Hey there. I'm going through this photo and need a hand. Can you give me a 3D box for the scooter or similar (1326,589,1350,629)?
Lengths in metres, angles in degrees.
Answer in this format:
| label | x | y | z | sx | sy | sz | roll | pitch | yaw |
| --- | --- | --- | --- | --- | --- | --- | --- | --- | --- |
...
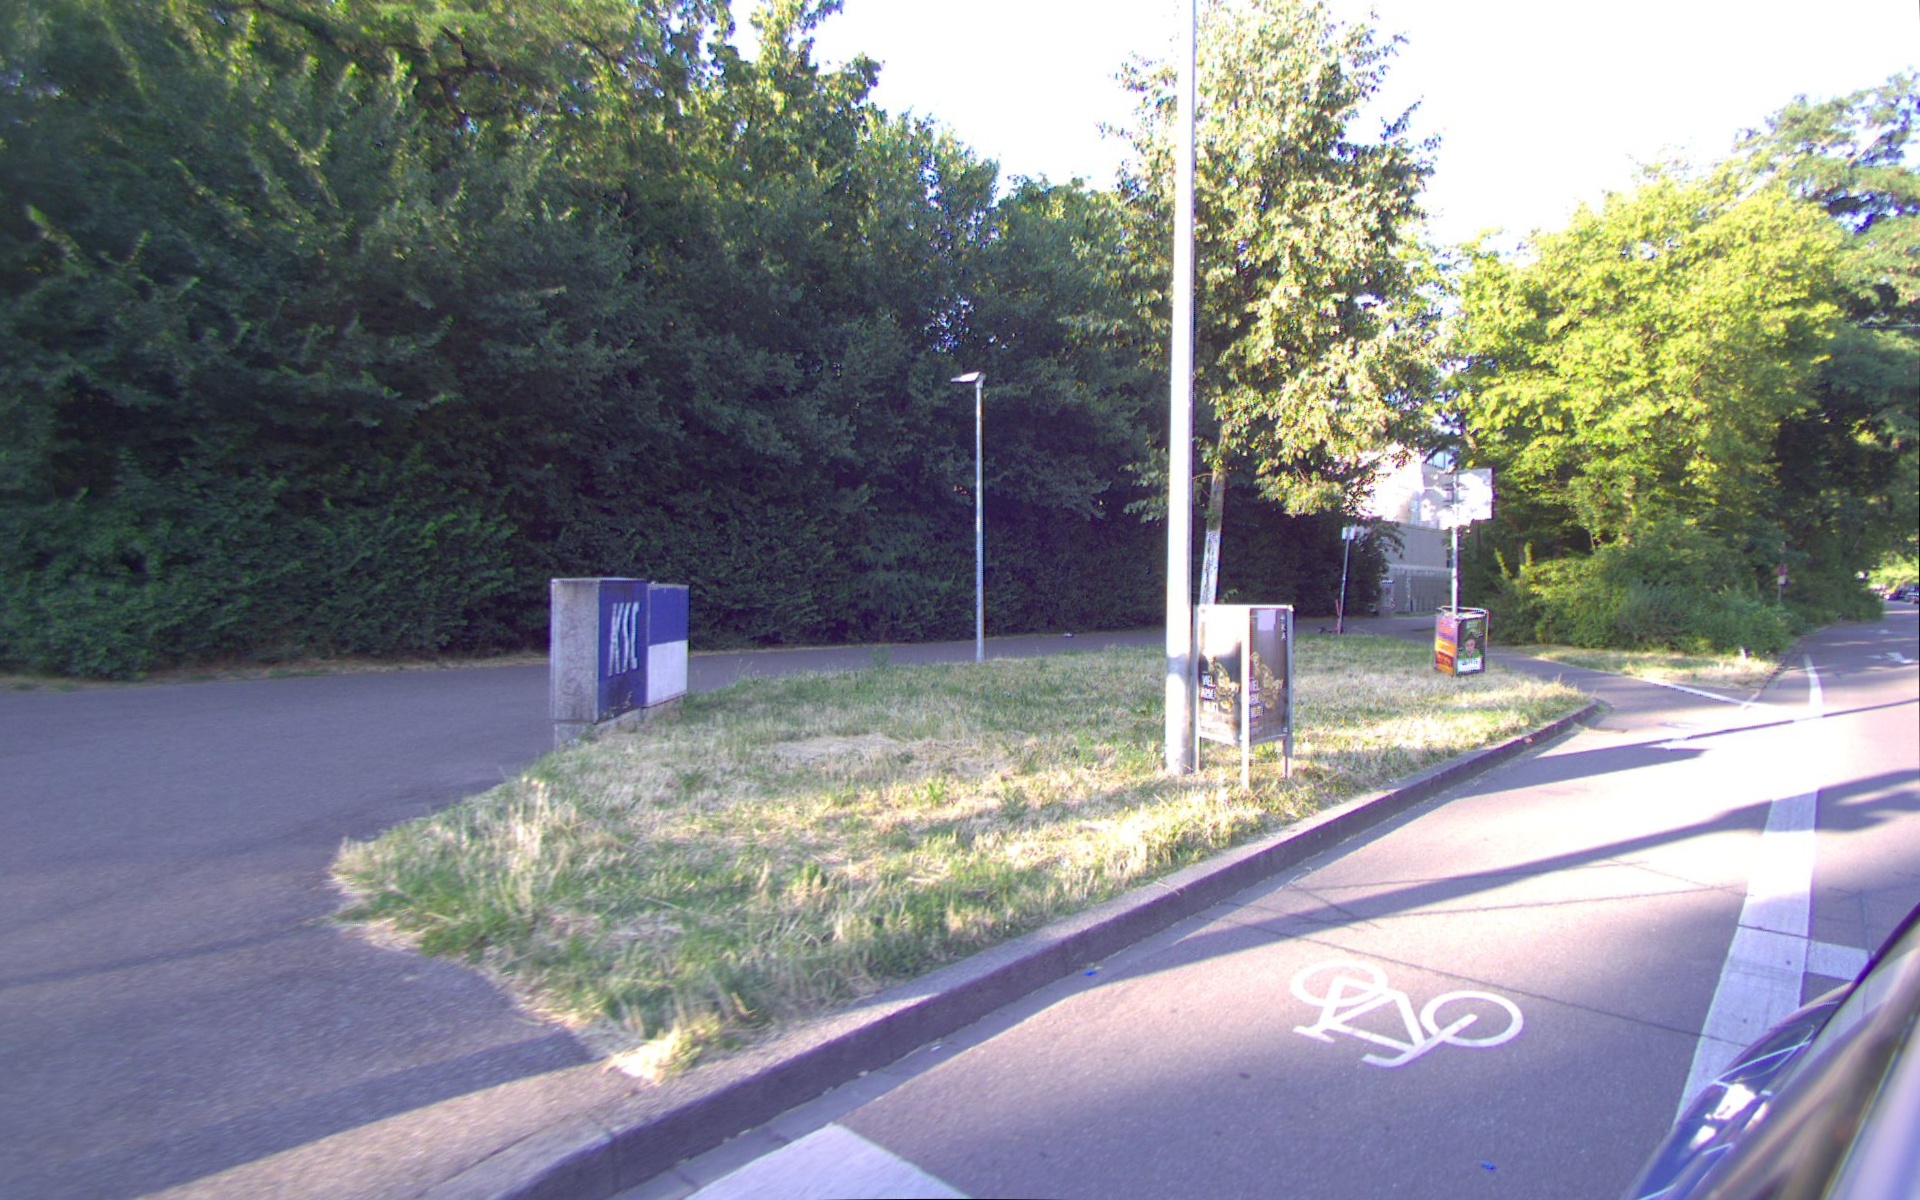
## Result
| label | x | y | z | sx | sy | sz | roll | pitch | yaw |
| --- | --- | --- | --- | --- | --- | --- | --- | --- | --- |
| scooter or similar | 10.651 | 0.250 | 28.522 | 0.820 | 1.100 | 0.194 | 0 | -1 | -34 |
